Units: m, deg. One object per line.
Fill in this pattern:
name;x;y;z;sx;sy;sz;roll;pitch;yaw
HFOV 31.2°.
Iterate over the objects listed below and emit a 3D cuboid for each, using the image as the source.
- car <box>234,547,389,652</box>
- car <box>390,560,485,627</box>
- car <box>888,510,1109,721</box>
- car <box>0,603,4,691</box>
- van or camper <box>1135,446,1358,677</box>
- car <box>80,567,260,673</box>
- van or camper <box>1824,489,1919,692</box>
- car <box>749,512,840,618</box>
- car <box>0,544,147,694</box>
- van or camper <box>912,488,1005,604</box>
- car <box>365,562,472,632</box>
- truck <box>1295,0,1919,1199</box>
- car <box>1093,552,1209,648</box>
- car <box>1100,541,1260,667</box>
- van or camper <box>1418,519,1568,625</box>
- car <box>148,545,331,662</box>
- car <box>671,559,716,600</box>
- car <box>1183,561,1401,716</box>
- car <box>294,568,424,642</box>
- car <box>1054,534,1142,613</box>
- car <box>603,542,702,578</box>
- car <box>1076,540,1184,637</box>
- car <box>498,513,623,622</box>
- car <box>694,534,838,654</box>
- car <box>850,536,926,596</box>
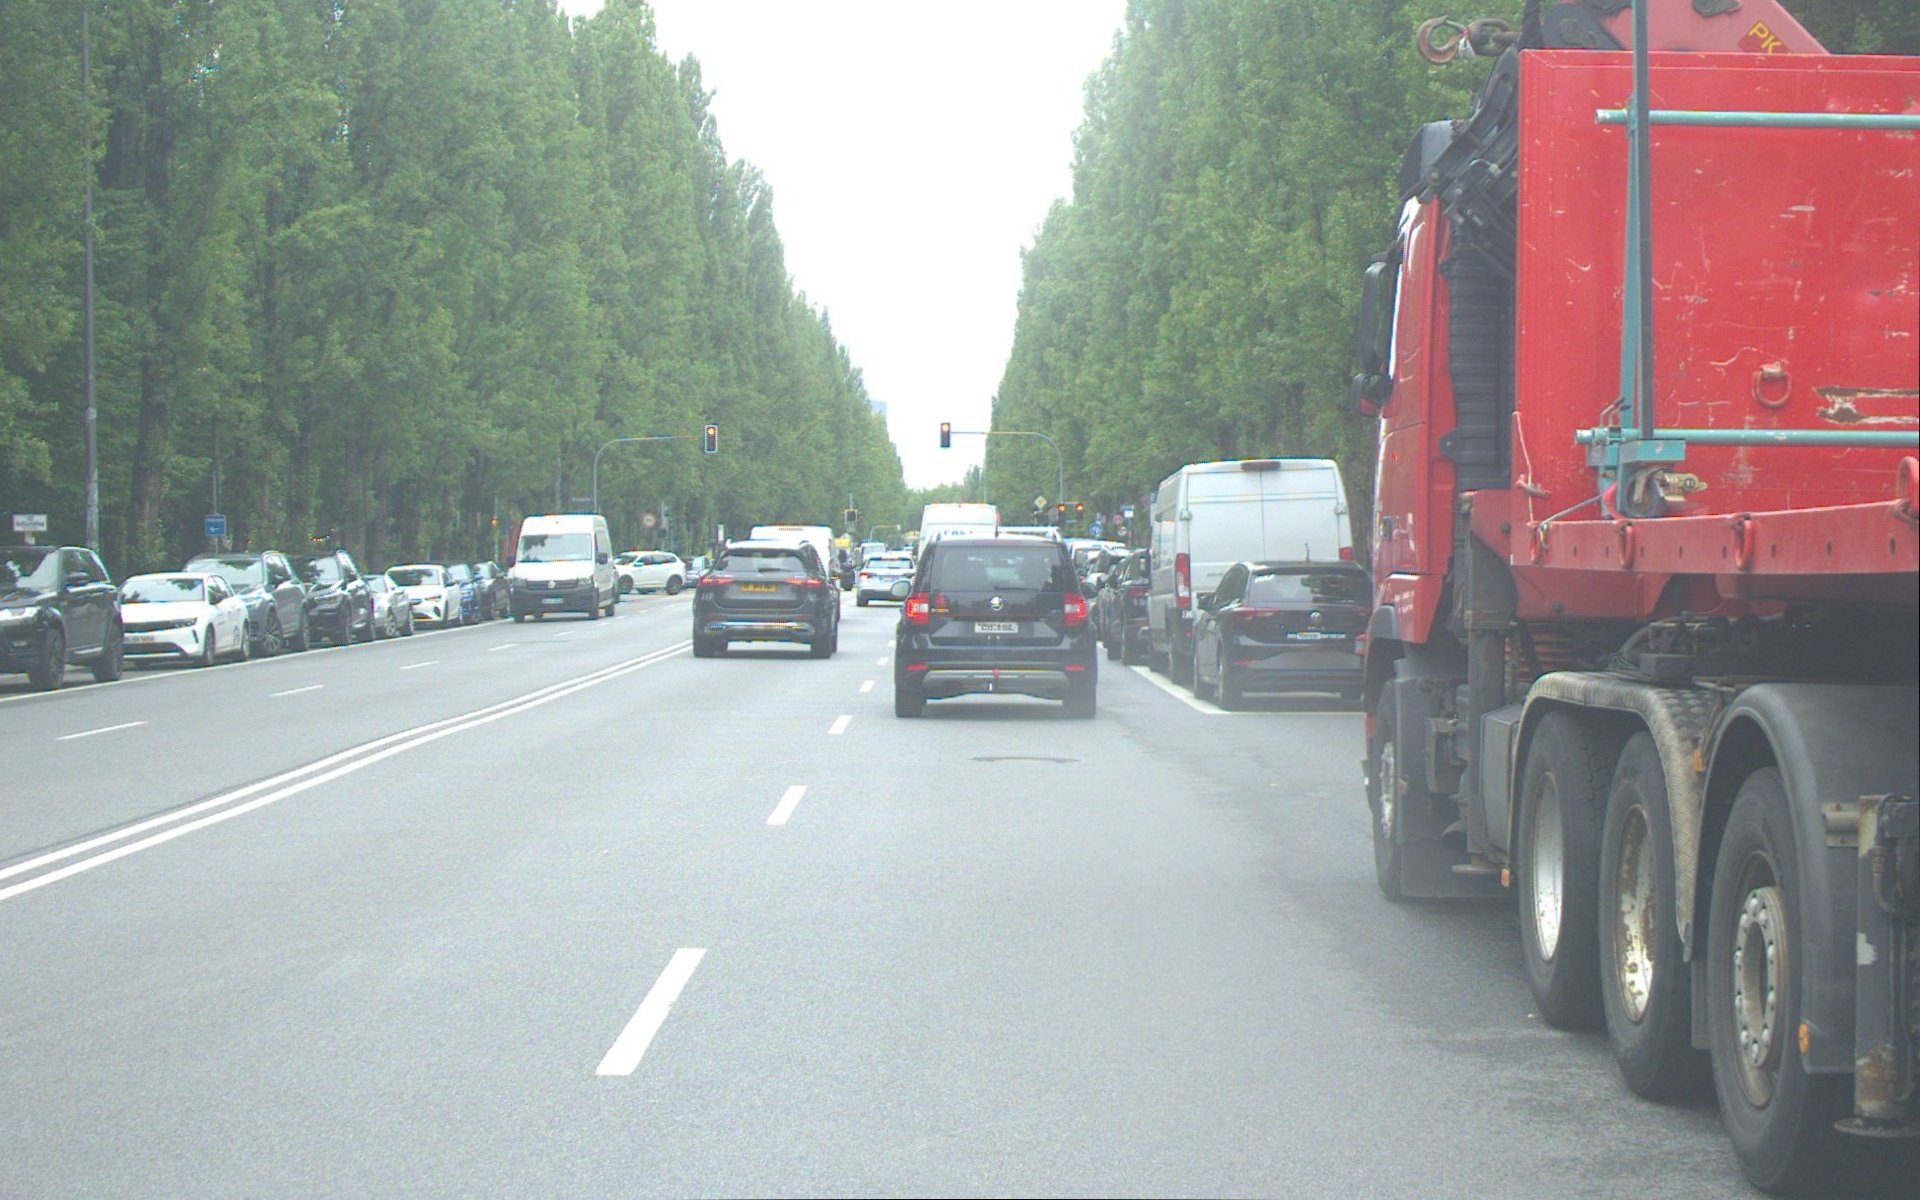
car;-11.967;-0.045;63.720;1.940;1.761;4.896;-3;1;-1
car;-12.468;-0.173;82.164;1.709;1.446;3.586;-3;1;-1
car;0.346;0.105;31.533;1.855;1.764;4.000;1;1;0
car;-12.201;0.338;37.970;1.944;1.578;4.389;-2;1;1
van or camper;3.315;-0.467;41.003;2.139;2.531;6.417;0;1;0
car;-11.984;0.276;52.385;1.704;1.454;4.273;-3;1;0
van or camper;10.101;-0.104;33.637;1.975;1.927;5.038;1;1;0
car;-3.417;-0.730;70.948;1.781;2.104;4.025;-1;1;-3
car;-12.056;0.230;43.907;2.046;1.780;4.799;-3;1;1
van or camper;-0.059;-1.234;77.741;1.975;2.540;4.025;-1;1;-1
car;-12.253;-0.097;77.960;1.770;1.447;4.234;-3;1;-1
truck;3.045;-0.485;10.834;2.845;3.552;10.280;0;1;-1
car;3.173;-0.028;57.763;1.702;1.514;4.295;-1;1;0
car;2.997;0.017;47.621;1.784;1.643;4.418;-1;1;-2
van or camper;10.123;-0.561;65.641;2.076;1.927;5.368;1;1;1
car;-12.058;0.021;57.852;1.909;1.783;5.180;-3;1;0
car;-12.001;-0.925;155.069;1.688;1.777;3.775;0;1;0
car;3.221;0.333;33.982;1.676;1.415;4.000;0;1;-1
car;-12.063;0.077;69.253;1.826;1.329;4.234;-3;1;0
car;3.385;-0.674;84.820;1.851;1.875;4.169;-1;1;-2
car;-12.058;-1.570;134.915;1.711;1.361;3.813;0;1;39
car;3.062;-0.243;62.694;1.743;1.670;4.580;-1;1;0
car;-9.682;-0.819;83.819;2.228;2.475;6.759;-2;1;-1
car;-2.709;-0.118;48.787;1.781;1.614;4.025;0;1;0
car;-1.933;-0.941;92.724;1.993;1.555;4.000;-1;1;-1
